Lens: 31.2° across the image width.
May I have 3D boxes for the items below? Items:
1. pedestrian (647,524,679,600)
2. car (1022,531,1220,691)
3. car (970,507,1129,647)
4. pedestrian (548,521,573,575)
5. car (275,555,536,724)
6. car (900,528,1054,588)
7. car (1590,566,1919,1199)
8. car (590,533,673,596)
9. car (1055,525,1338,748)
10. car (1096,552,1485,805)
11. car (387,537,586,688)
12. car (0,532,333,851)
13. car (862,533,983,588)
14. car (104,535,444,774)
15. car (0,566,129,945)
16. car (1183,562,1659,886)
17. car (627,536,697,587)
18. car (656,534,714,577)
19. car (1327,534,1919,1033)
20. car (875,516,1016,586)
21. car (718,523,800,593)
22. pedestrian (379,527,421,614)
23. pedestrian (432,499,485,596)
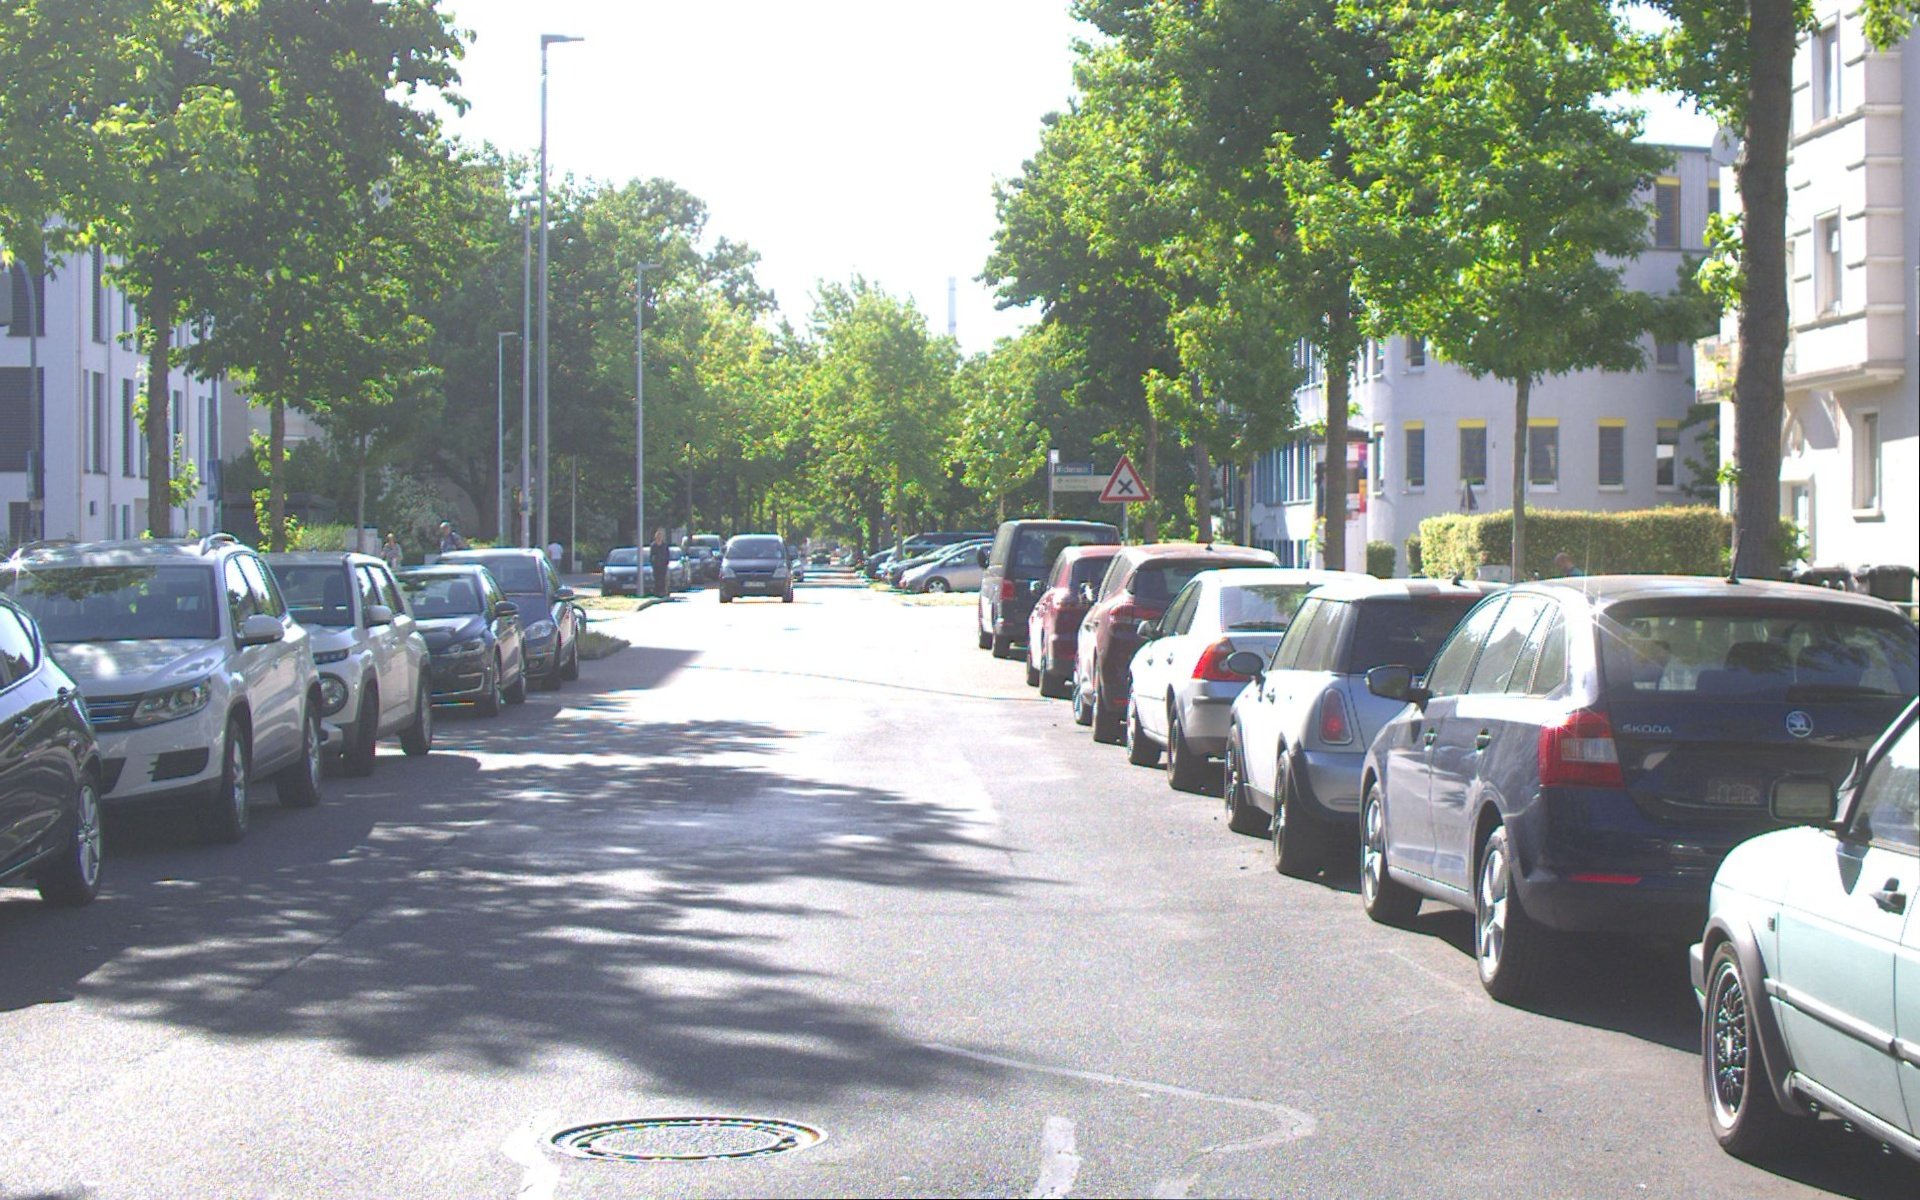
[{"bbox_3d":[-7.456,-0.950,86.257,0.715,1.894,0.837,0,1,-11],"label":"pedestrian"},{"bbox_3d":[1.718,0.079,37.895,1.834,1.594,4.158,2,1,-1],"label":"car"},{"bbox_3d":[1.247,-0.358,50.111,1.970,1.942,4.986,0,1,-3],"label":"car"},{"bbox_3d":[-14.830,-1.927,127.558,0.859,2.007,0.981,0,1,-8],"label":"pedestrian"},{"bbox_3d":[-5.339,0.334,33.624,1.993,1.448,4.263,-2,1,-3],"label":"car"},{"bbox_3d":[0.443,-1.139,92.445,3.986,1.581,1.727,0,1,-6],"label":"car"},{"bbox_3d":[2.744,0.713,7.451,1.750,1.449,4.462,2,1,-2],"label":"car"},{"bbox_3d":[-8.942,-0.986,93.746,1.993,1.665,4.001,0,1,-2],"label":"car"},{"bbox_3d":[1.953,0.249,29.619,1.907,1.693,4.314,3,1,-2],"label":"car"},{"bbox_3d":[2.137,0.457,23.595,1.897,1.469,4.700,3,1,-3],"label":"car"},{"bbox_3d":[-5.405,0.101,39.693,1.839,1.589,4.263,-2,1,-3],"label":"car"},{"bbox_3d":[-4.756,0.429,19.376,1.811,1.590,4.233,-1,1,-2],"label":"car"},{"bbox_3d":[-1.332,-1.383,121.064,3.986,1.875,2.001,1,1,-8],"label":"car"},{"bbox_3d":[-4.874,0.331,24.919,1.710,1.539,3.930,-2,1,-1],"label":"car"},{"bbox_3d":[-4.611,0.624,13.709,1.762,1.439,3.909,-2,1,-3],"label":"car"},{"bbox_3d":[2.262,0.556,17.815,1.788,1.448,3.782,1,1,-2],"label":"car"},{"bbox_3d":[-9.437,-1.245,109.027,1.993,1.579,4.001,0,1,-2],"label":"car"},{"bbox_3d":[-10.440,-1.700,130.794,1.993,1.579,4.001,0,1,-2],"label":"car"},{"bbox_3d":[2.559,0.543,13.088,1.692,1.535,4.441,1,1,-2],"label":"car"},{"bbox_3d":[-0.444,-1.429,100.469,3.986,2.007,2.000,0,1,-4],"label":"car"},{"bbox_3d":[-4.680,-0.998,80.517,1.783,1.603,4.000,0,1,-1],"label":"car"},{"bbox_3d":[-13.094,-0.690,80.380,0.859,2.007,0.981,0,1,-4],"label":"pedestrian"},{"bbox_3d":[-10.435,-1.102,71.541,0.859,2.007,0.981,0,1,7],"label":"pedestrian"}]
